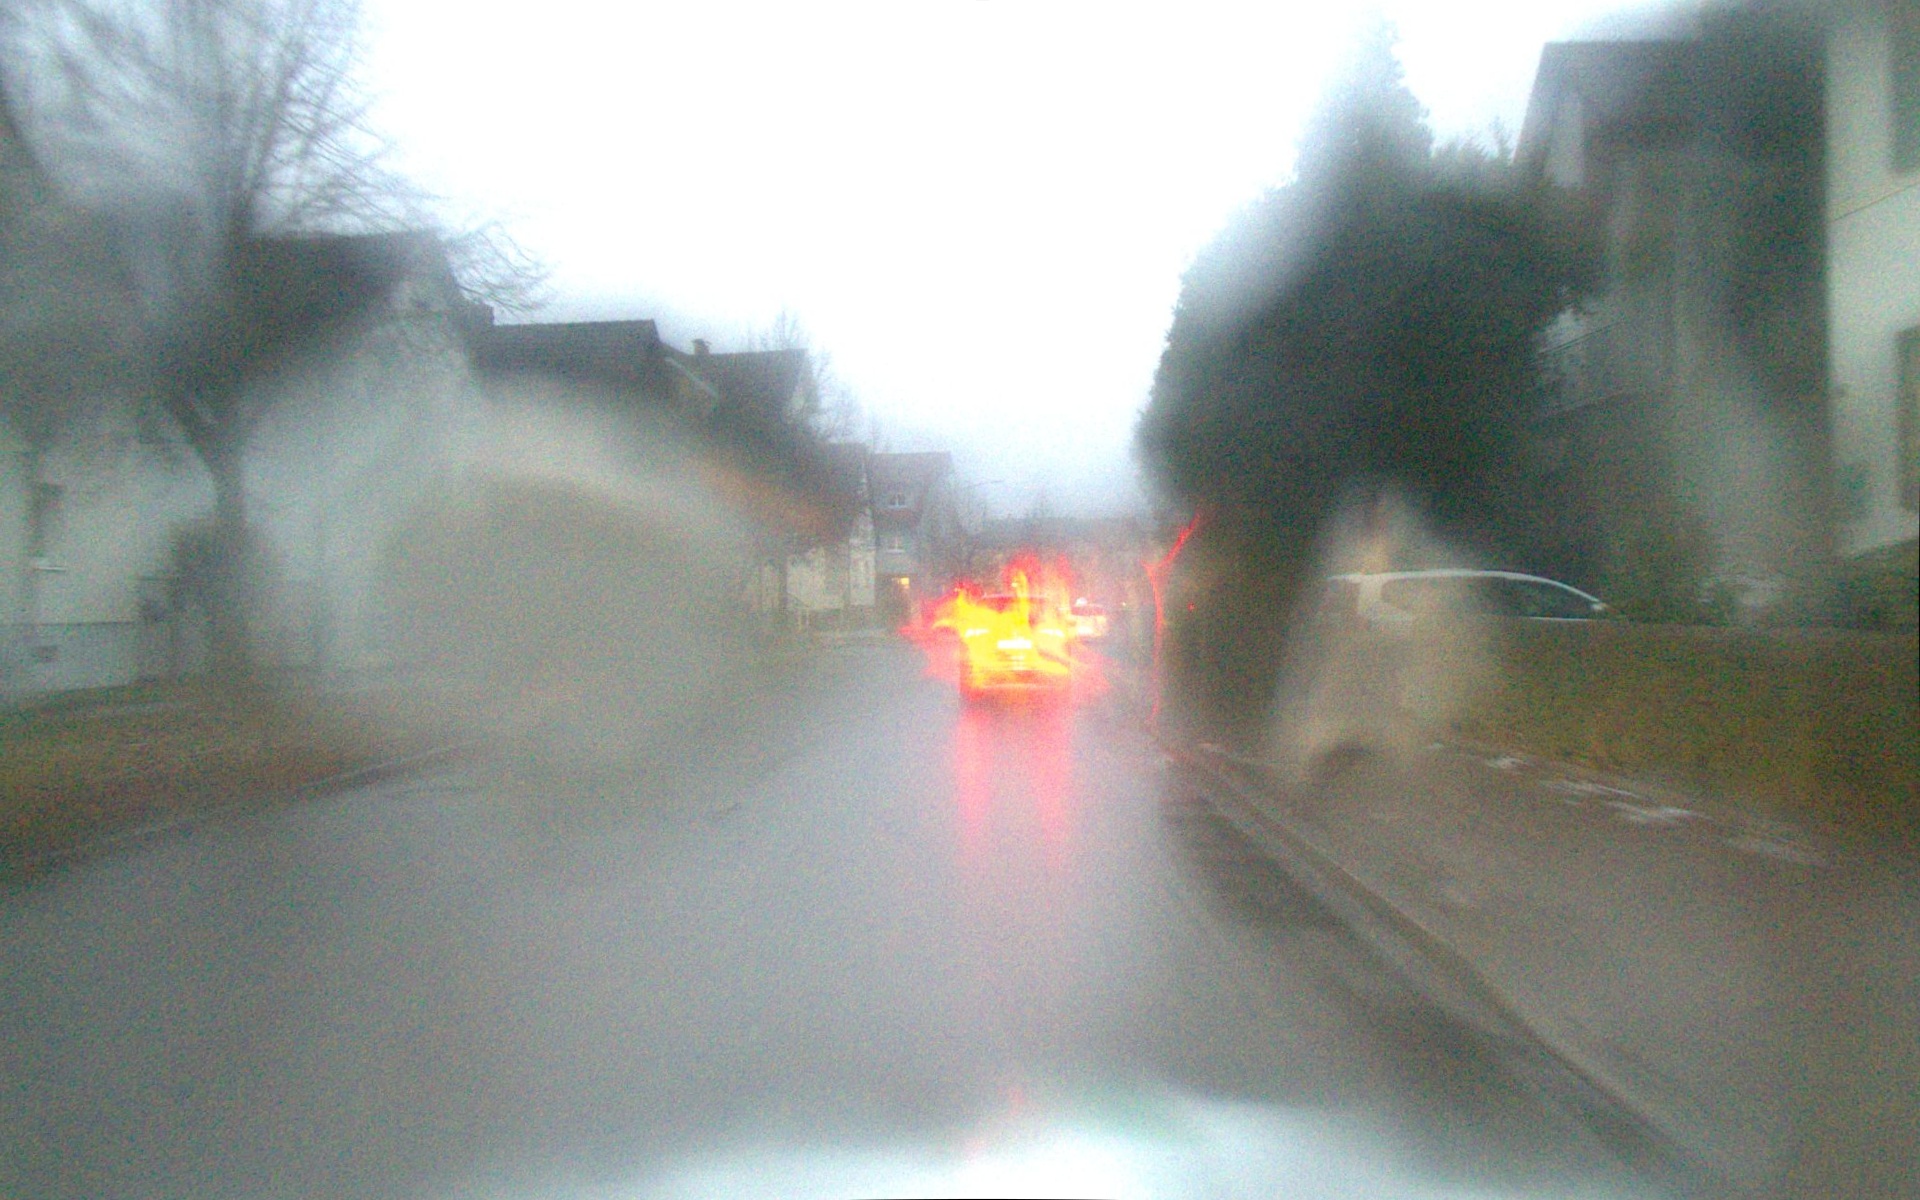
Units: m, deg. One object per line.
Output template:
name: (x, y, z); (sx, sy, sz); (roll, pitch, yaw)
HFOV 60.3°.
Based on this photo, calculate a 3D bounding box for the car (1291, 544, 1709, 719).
car: (6.298, 0.349, 19.643); (4.236, 1.762, 1.999); (-3, 0, -2)

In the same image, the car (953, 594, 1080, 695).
car: (0.902, 0.699, 27.476); (1.952, 1.552, 4.000); (0, 0, 1)

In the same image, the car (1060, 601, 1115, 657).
car: (4.915, 1.082, 63.207); (1.951, 2.049, 4.002); (1, -1, 6)

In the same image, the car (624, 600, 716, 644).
car: (-9.625, 0.741, 55.186); (1.744, 1.390, 4.003); (0, -1, 10)

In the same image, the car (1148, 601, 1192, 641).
car: (8.851, 0.875, 69.490); (1.614, 1.567, 3.393); (-2, -1, 10)
